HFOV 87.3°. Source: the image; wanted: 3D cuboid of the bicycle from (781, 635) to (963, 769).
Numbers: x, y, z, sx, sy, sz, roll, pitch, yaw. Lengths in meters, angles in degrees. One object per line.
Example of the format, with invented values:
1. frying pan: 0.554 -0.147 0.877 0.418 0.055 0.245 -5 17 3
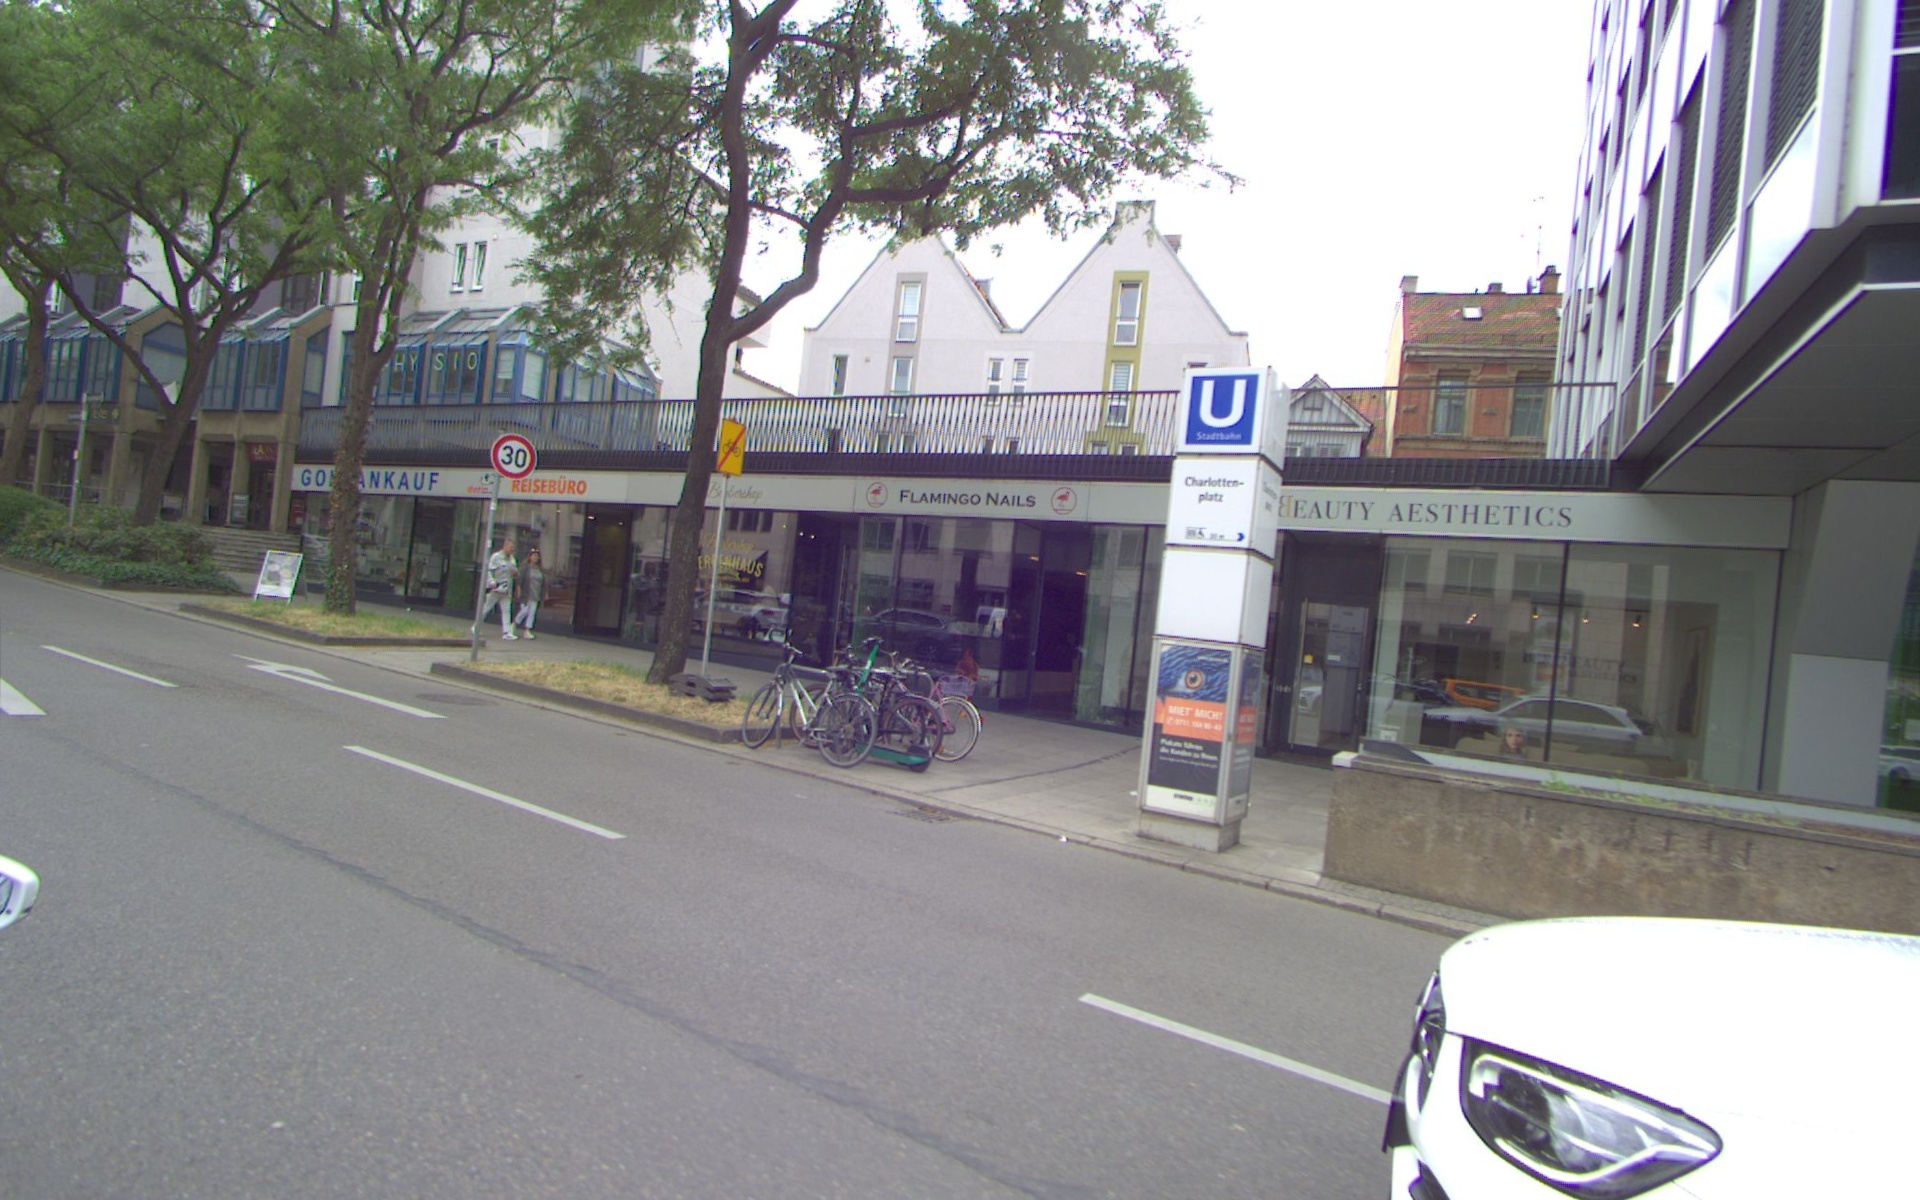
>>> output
1. bicycle: -0.974 1.077 10.943 1.853 1.146 0.490 7 0 25

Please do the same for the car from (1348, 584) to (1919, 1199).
1. car: 2.940 1.071 1.341 4.262 1.667 1.803 7 1 32

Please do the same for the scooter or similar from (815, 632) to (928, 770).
1. scooter or similar: -0.913 1.027 10.383 0.978 1.267 0.306 7 0 18

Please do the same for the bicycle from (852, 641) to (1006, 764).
1. bicycle: -0.379 1.161 11.621 1.660 1.146 0.490 7 0 32

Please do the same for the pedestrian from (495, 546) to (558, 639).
1. pedestrian: -8.194 -0.131 19.038 0.744 1.649 0.597 7 1 25

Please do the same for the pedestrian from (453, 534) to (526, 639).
1. pedestrian: -8.571 -0.239 18.335 0.924 1.776 0.597 7 1 25

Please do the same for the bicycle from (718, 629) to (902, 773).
1. bicycle: -1.536 0.987 10.146 1.812 1.146 0.490 7 0 30
